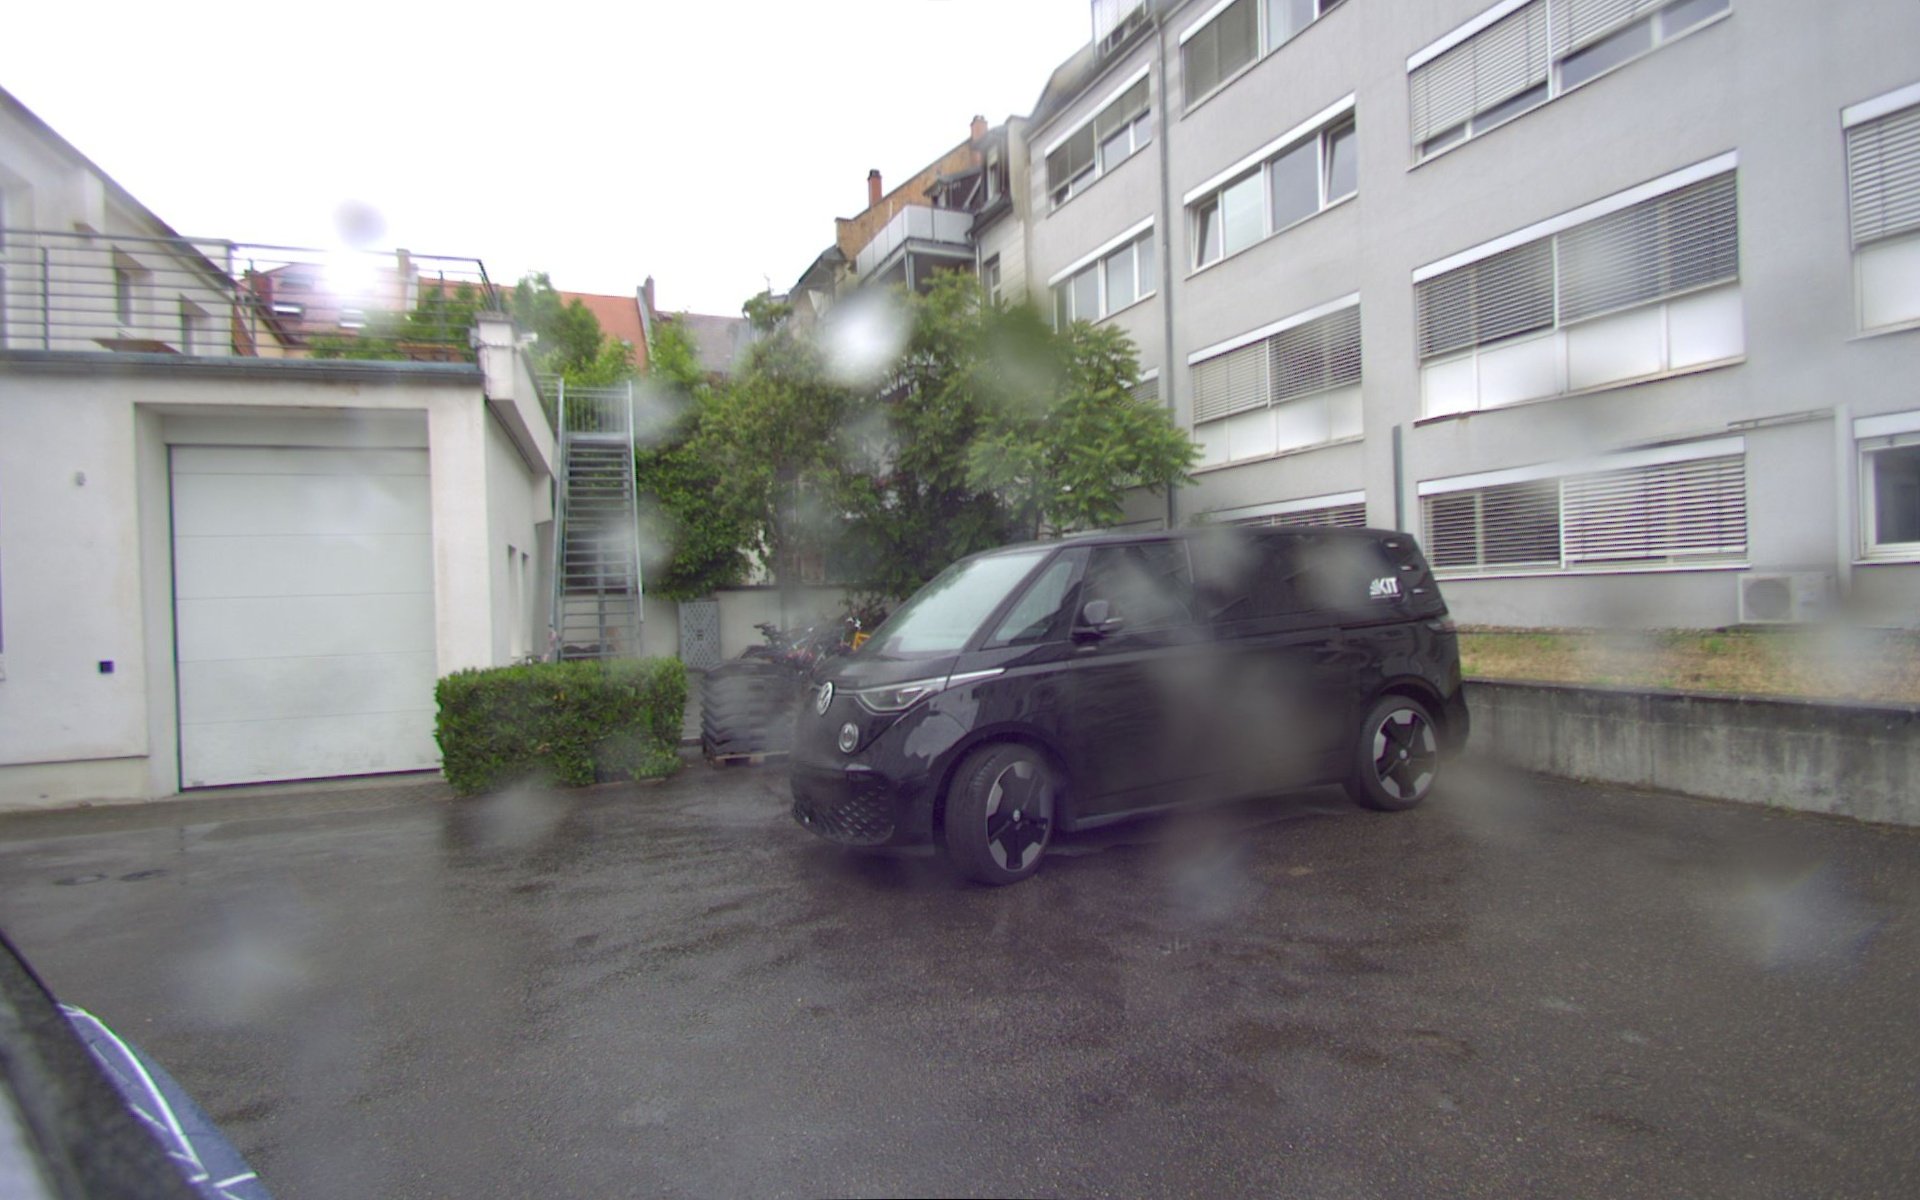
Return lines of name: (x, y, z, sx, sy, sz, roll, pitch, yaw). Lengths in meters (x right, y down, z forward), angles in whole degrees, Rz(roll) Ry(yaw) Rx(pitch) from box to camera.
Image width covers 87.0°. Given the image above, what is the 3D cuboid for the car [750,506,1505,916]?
car: (1.120, 0.460, 6.632, 4.444, 1.911, 2.053, -2, 0, -26)
